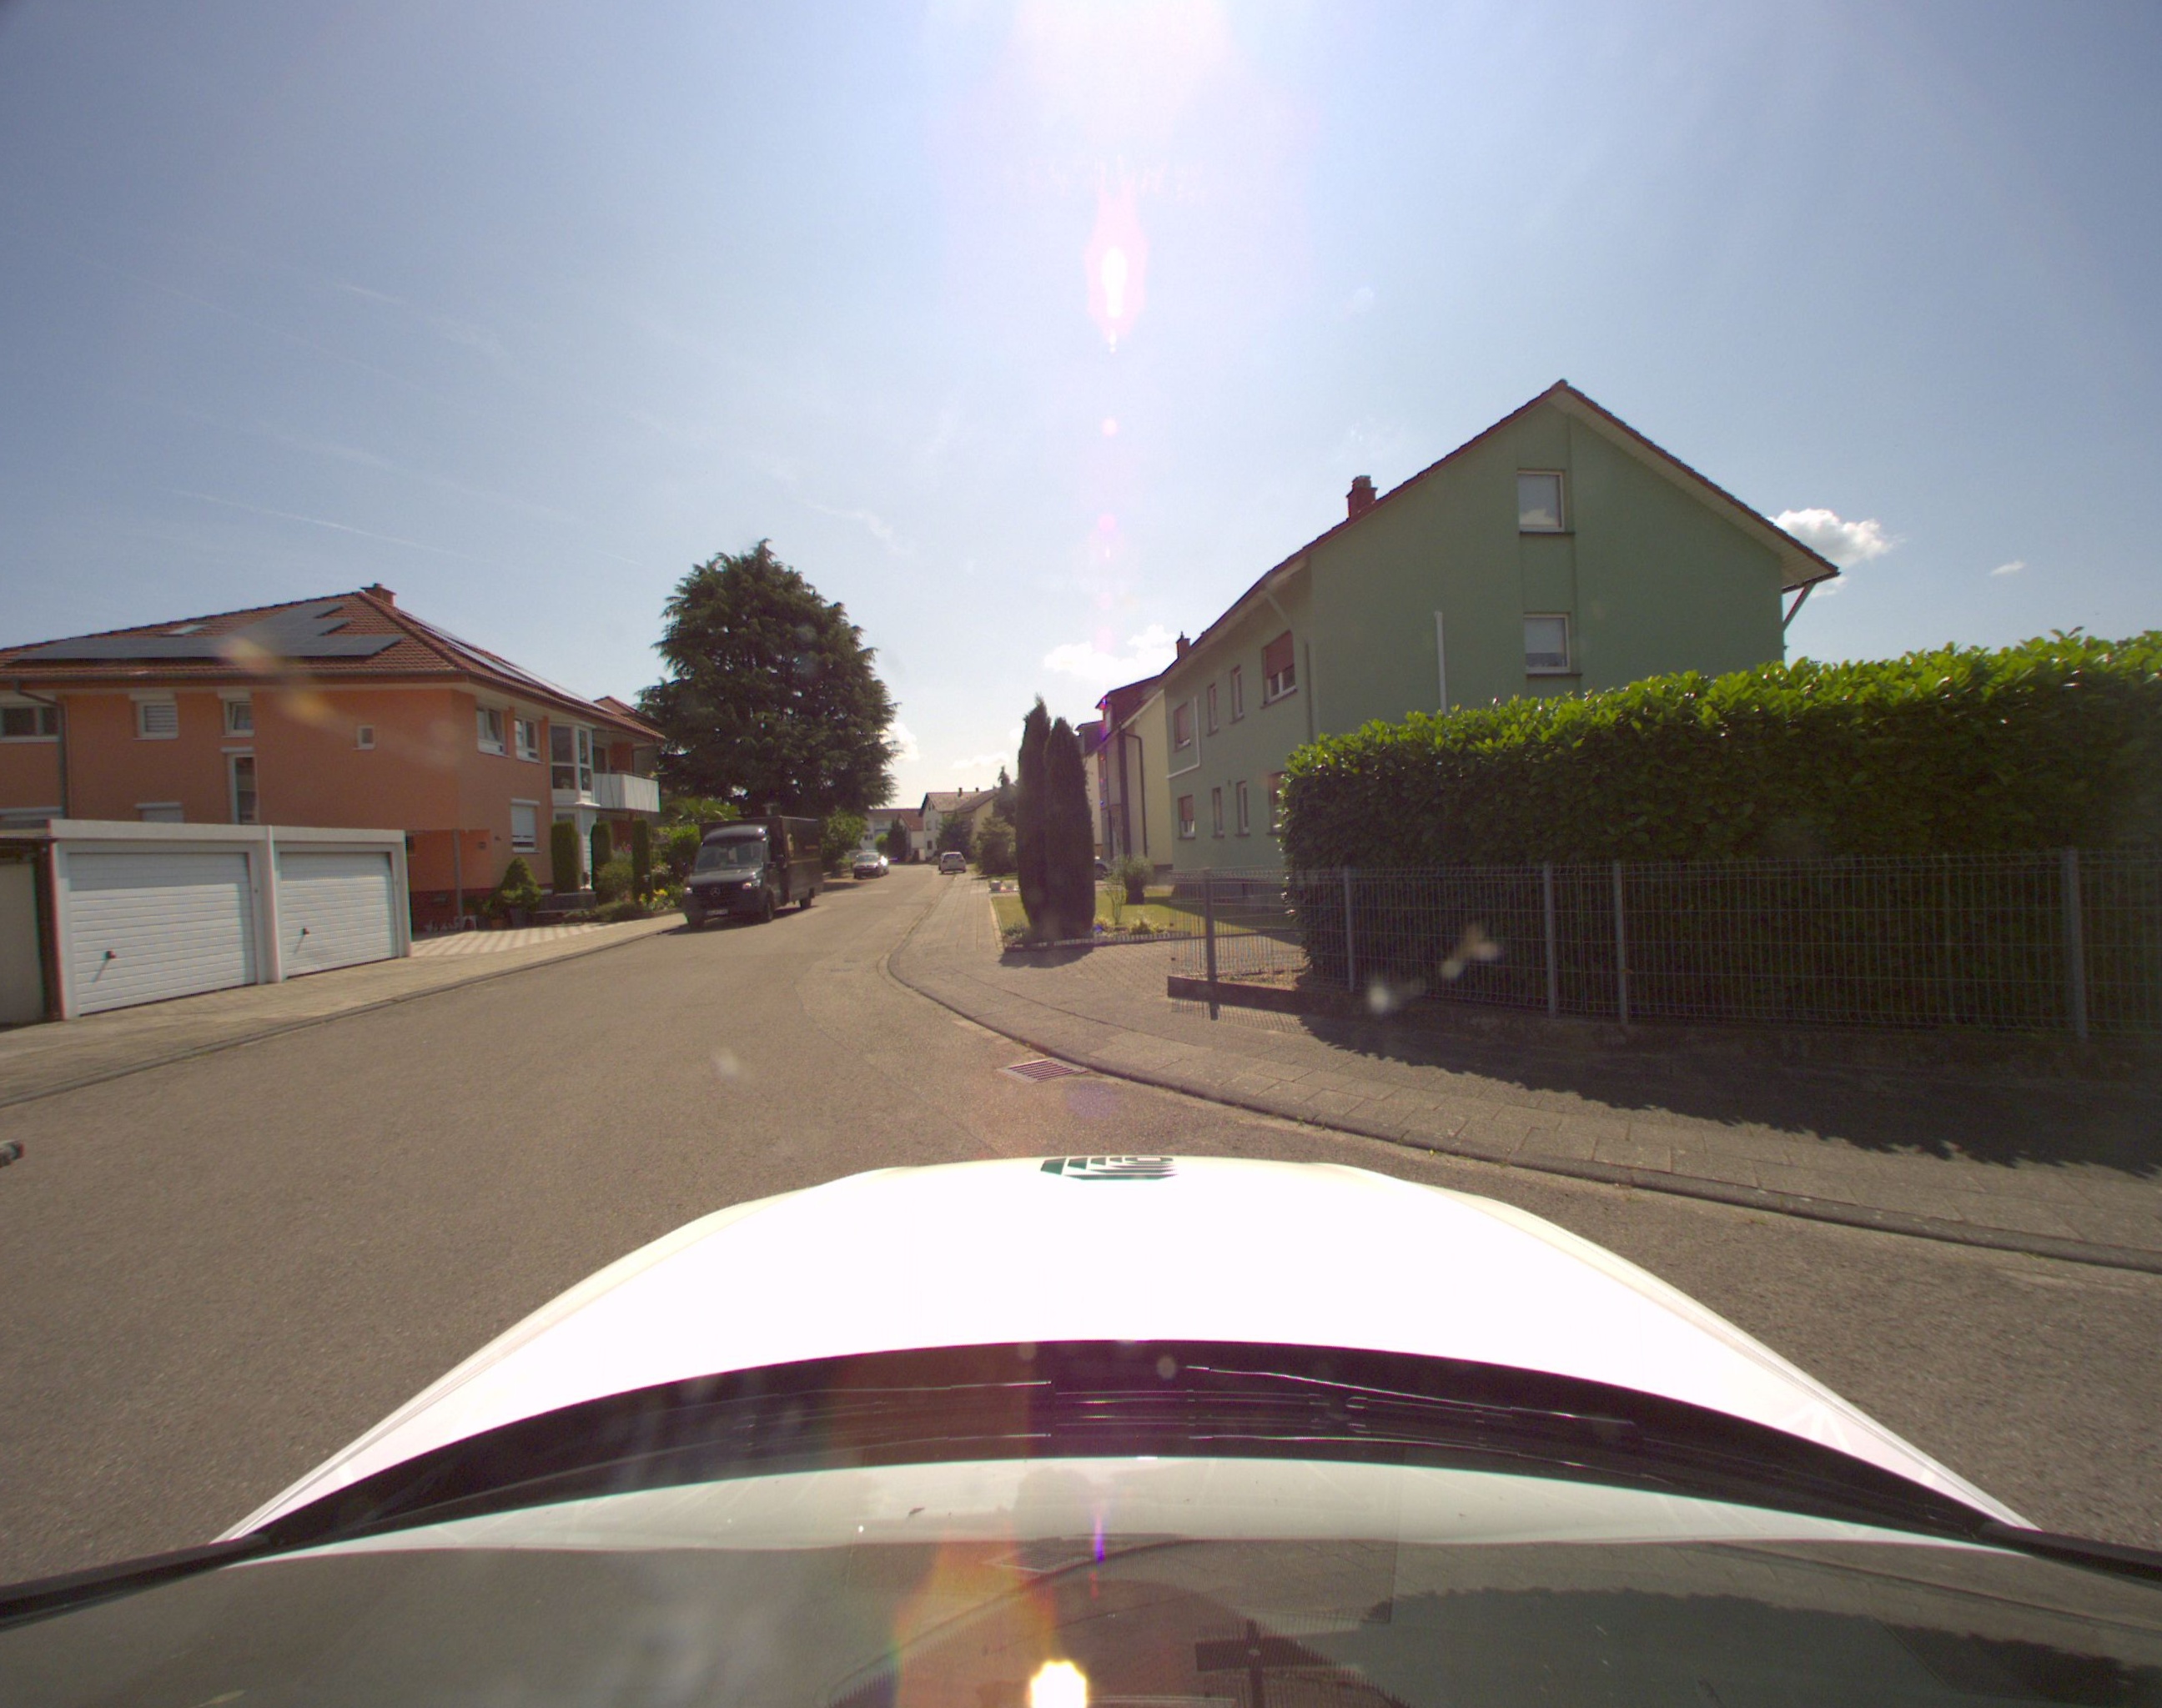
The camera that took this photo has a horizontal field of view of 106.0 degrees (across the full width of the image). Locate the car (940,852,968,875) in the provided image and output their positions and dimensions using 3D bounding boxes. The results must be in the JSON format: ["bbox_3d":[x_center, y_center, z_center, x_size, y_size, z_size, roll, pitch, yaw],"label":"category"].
[{"bbox_3d":[-9.080,0.659,57.880,1.808,1.495,3.986,-3,1,-10],"label":"car"}]

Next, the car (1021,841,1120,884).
[{"bbox_3d":[-0.474,0.334,34.216,3.910,1.509,1.770,-4,1,-7],"label":"car"}]

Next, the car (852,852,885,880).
[{"bbox_3d":[-14.722,0.820,56.525,1.808,1.762,4.192,-3,1,-10],"label":"car"}]

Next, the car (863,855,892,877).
[{"bbox_3d":[-15.561,0.916,62.391,1.808,1.495,3.986,-3,1,-10],"label":"car"}]

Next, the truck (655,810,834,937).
[{"bbox_3d":[-9.145,0.429,23.127,2.431,2.787,7.283,-6,1,-6],"label":"truck"}]

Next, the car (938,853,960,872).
[{"bbox_3d":[-11.447,0.693,70.486,1.808,1.495,3.986,-3,1,-10],"label":"car"}]
